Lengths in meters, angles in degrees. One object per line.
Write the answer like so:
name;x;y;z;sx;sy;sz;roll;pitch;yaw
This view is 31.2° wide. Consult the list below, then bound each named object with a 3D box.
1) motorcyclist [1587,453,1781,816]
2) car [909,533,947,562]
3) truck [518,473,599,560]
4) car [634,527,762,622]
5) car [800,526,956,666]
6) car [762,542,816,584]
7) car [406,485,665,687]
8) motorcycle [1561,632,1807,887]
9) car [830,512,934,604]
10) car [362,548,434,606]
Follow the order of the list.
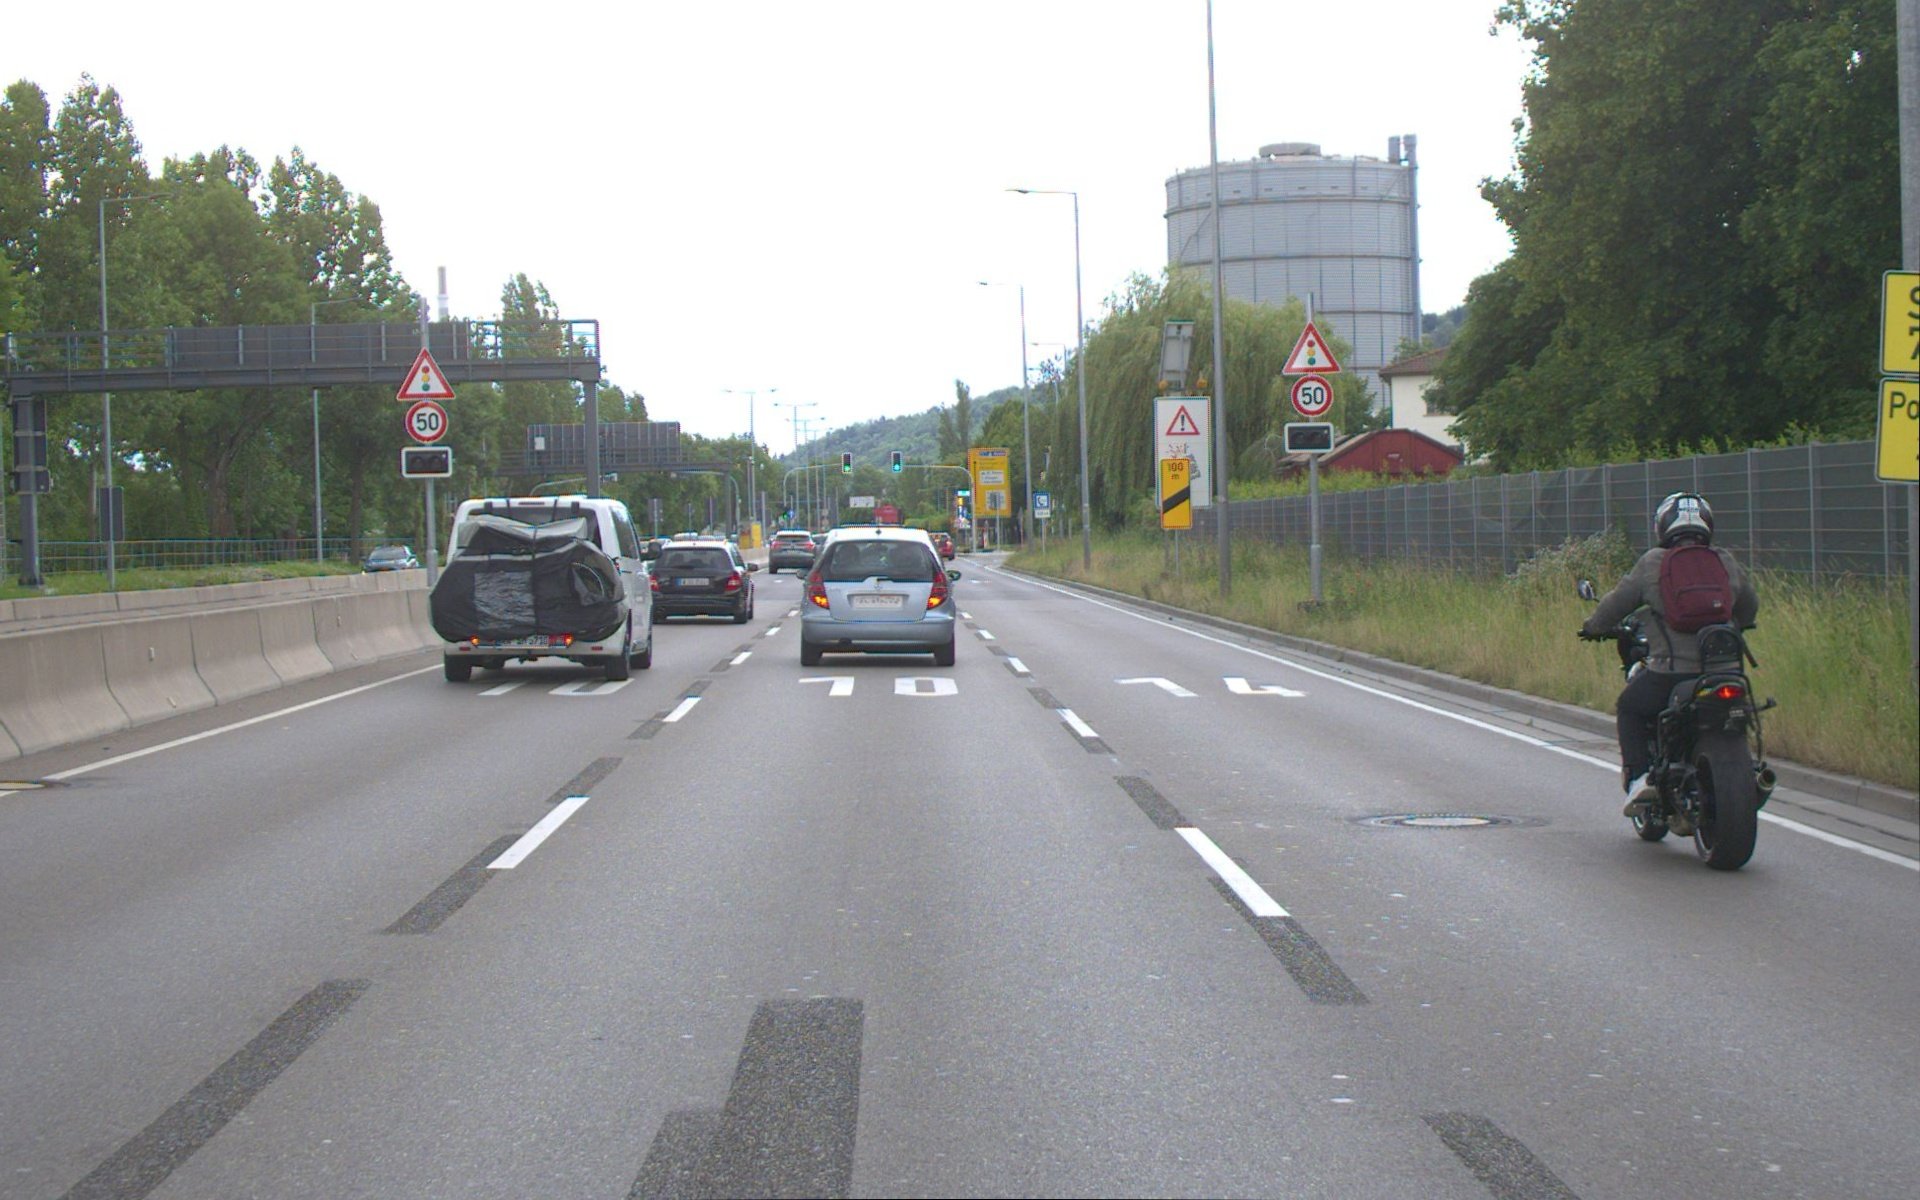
motorcyclist;3.300;0.146;15.725;0.685;1.604;0.845;1;1;1
car;-1.766;-2.901;188.948;1.993;1.546;4.000;1;1;-2
truck;-14.955;-3.085;128.422;2.403;3.096;7.202;1;1;-2
car;-4.463;-0.448;59.049;1.993;1.546;4.000;1;1;-2
car;-0.962;-0.080;40.145;1.710;1.525;4.000;1;1;-2
car;-6.491;-1.419;130.735;1.993;1.546;4.000;1;1;-2
car;-4.313;-0.172;35.689;2.214;1.919;5.003;1;1;-2
motorcycle;3.288;0.695;15.790;0.706;1.036;2.027;1;1;1
car;-1.489;-0.817;66.464;1.907;1.678;4.000;1;1;-1
car;-20.266;-0.846;124.103;1.993;2.007;4.000;1;1;-1
